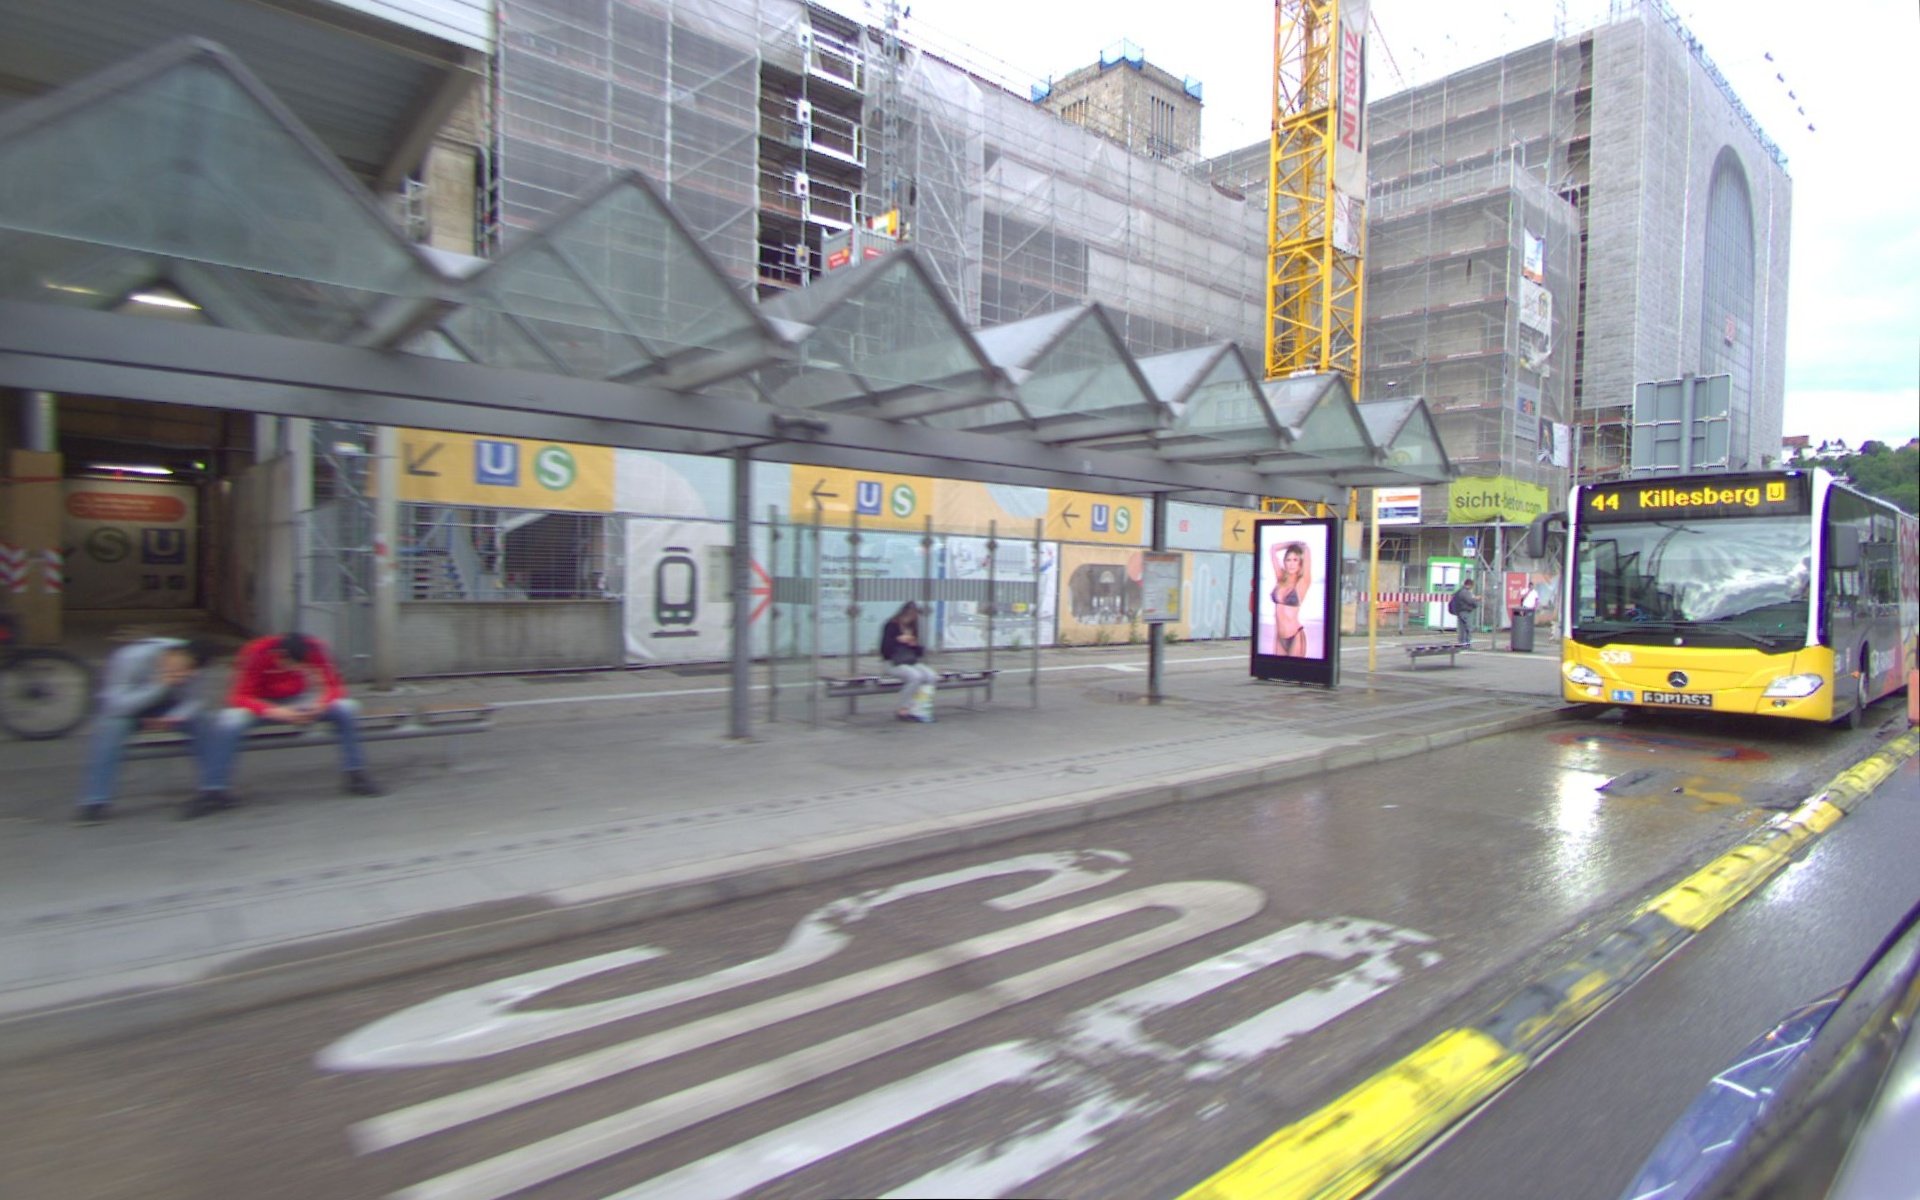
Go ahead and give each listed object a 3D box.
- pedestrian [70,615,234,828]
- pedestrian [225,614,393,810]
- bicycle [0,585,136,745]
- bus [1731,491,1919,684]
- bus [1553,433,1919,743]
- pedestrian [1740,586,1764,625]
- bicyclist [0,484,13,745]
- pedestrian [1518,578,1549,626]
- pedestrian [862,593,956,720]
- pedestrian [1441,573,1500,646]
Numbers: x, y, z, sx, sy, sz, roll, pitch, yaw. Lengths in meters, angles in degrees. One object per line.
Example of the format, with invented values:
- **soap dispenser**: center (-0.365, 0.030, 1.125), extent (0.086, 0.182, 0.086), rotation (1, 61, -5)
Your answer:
- **pedestrian**: center (-4.651, 0.646, 5.832), extent (0.696, 1.078, 0.729), rotation (0, 2, -40)
- **pedestrian**: center (-4.078, 0.649, 6.334), extent (0.794, 1.078, 0.729), rotation (0, 2, -41)
- **bicycle**: center (-7.927, 0.499, 7.831), extent (2.365, 1.212, 0.816), rotation (0, 2, -43)
- **bus**: center (18.032, -0.263, 19.998), extent (8.923, 3.107, 2.760), rotation (-1, 1, -41)
- **bus**: center (11.368, -0.183, 14.097), extent (8.837, 3.104, 2.760), rotation (-1, 1, -41)
- **pedestrian**: center (34.229, 0.235, 43.756), extent (0.978, 1.652, 0.550), rotation (0, 4, -42)
- **bicyclist**: center (-7.907, 0.099, 7.839), extent (0.804, 2.006, 0.824), rotation (0, 2, -42)
- **pedestrian**: center (19.922, 0.068, 35.161), extent (0.601, 1.655, 0.697), rotation (1, 1, -4)
- **pedestrian**: center (-0.519, 0.546, 10.224), extent (0.654, 1.201, 0.666), rotation (0, 2, -40)
- **pedestrian**: center (11.811, 0.209, 23.437), extent (0.811, 1.655, 0.911), rotation (1, 1, -14)
